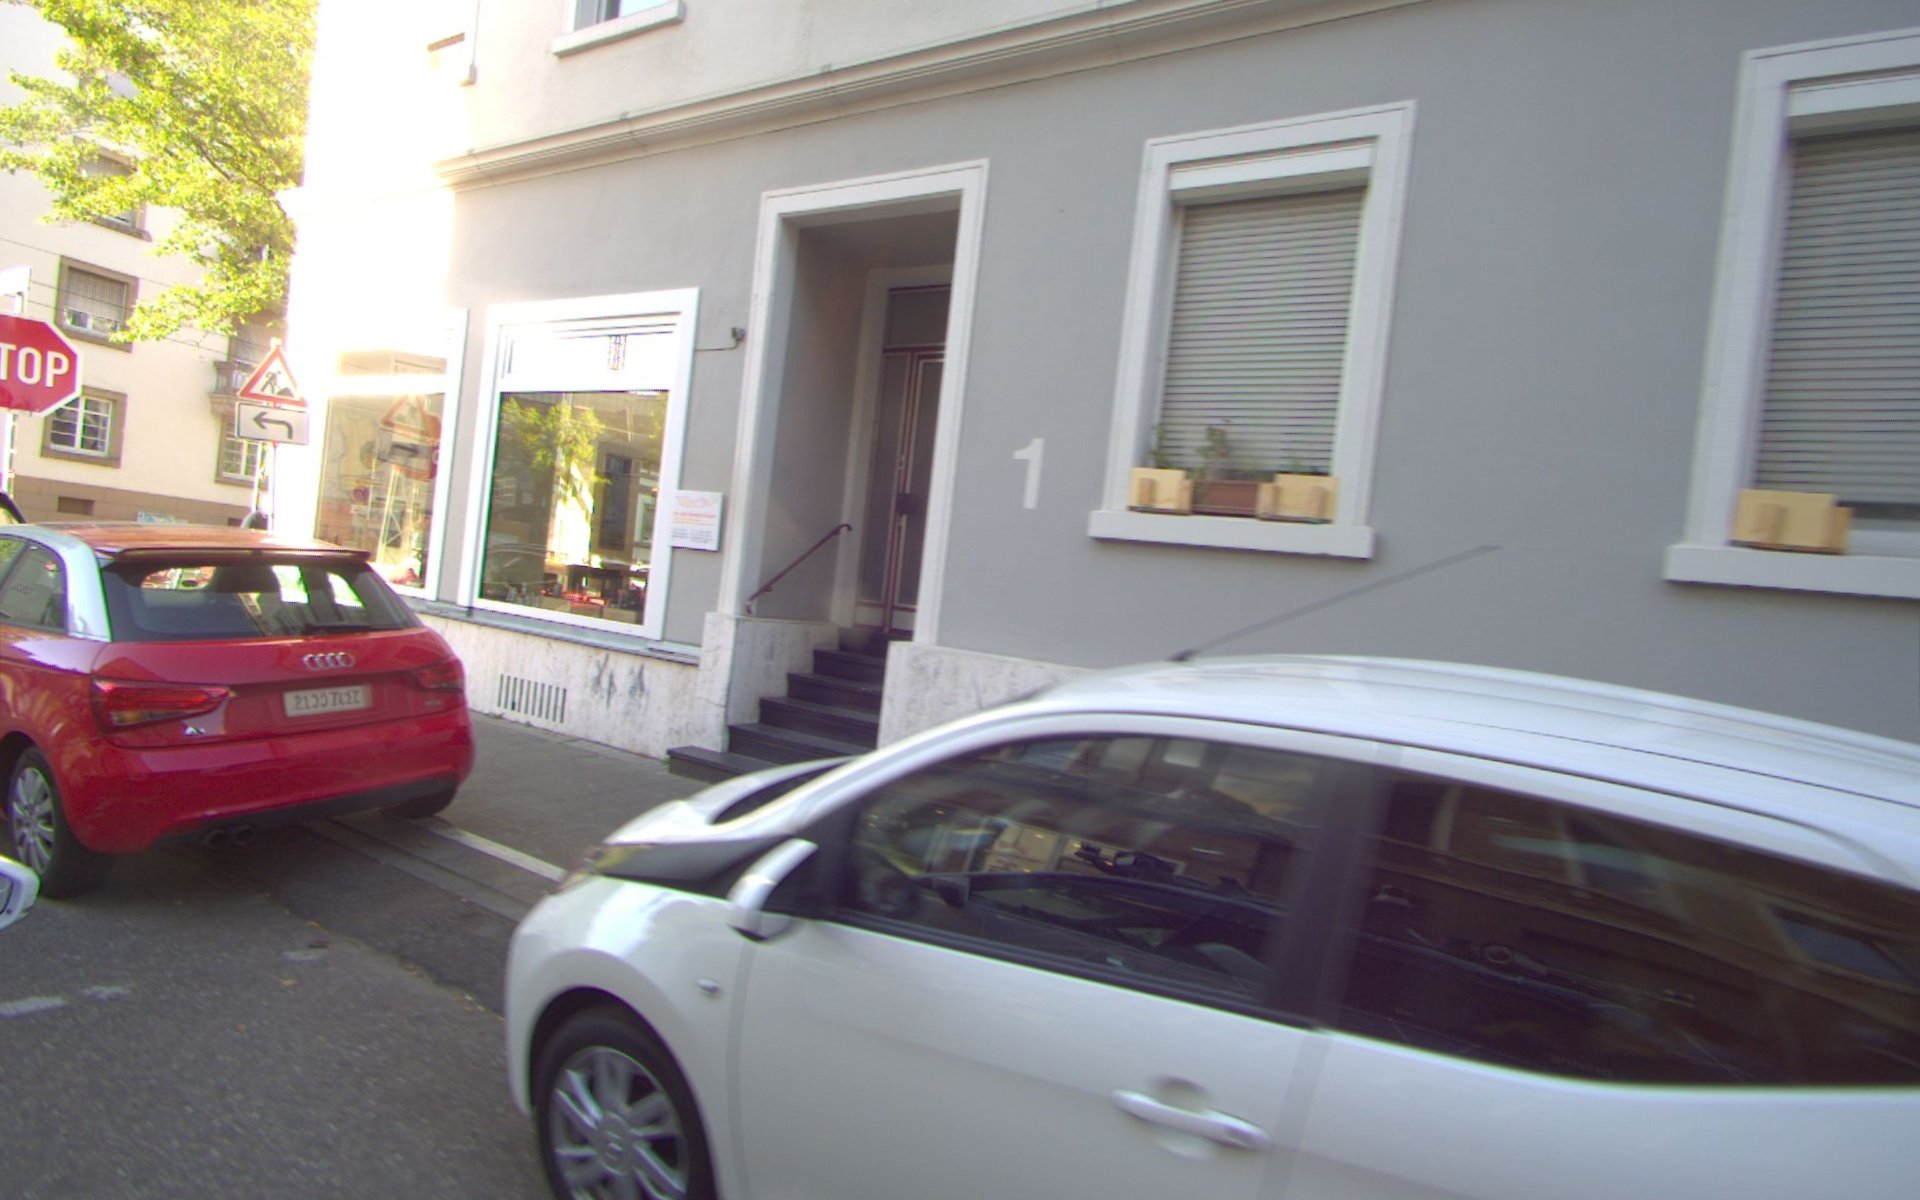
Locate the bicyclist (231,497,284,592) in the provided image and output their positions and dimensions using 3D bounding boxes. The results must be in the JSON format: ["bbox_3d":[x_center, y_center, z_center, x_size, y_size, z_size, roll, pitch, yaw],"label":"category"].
[{"bbox_3d":[-13.421,-1.049,19.236,0.647,1.708,0.539,7,0,-33],"label":"bicyclist"}]

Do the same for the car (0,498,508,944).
[{"bbox_3d":[-4.386,0.319,5.206,3.888,1.520,1.649,7,-1,30],"label":"car"}]

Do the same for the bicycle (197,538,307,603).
[{"bbox_3d":[-13.498,-0.552,19.225,1.613,1.028,0.548,8,-1,-33],"label":"bicycle"}]

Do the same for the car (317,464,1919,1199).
[{"bbox_3d":[0.475,0.720,2.317,3.724,1.605,1.640,7,-1,30],"label":"car"}]

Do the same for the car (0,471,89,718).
[{"bbox_3d":[-8.543,-0.289,7.474,4.126,1.682,1.764,7,-1,30],"label":"car"}]
